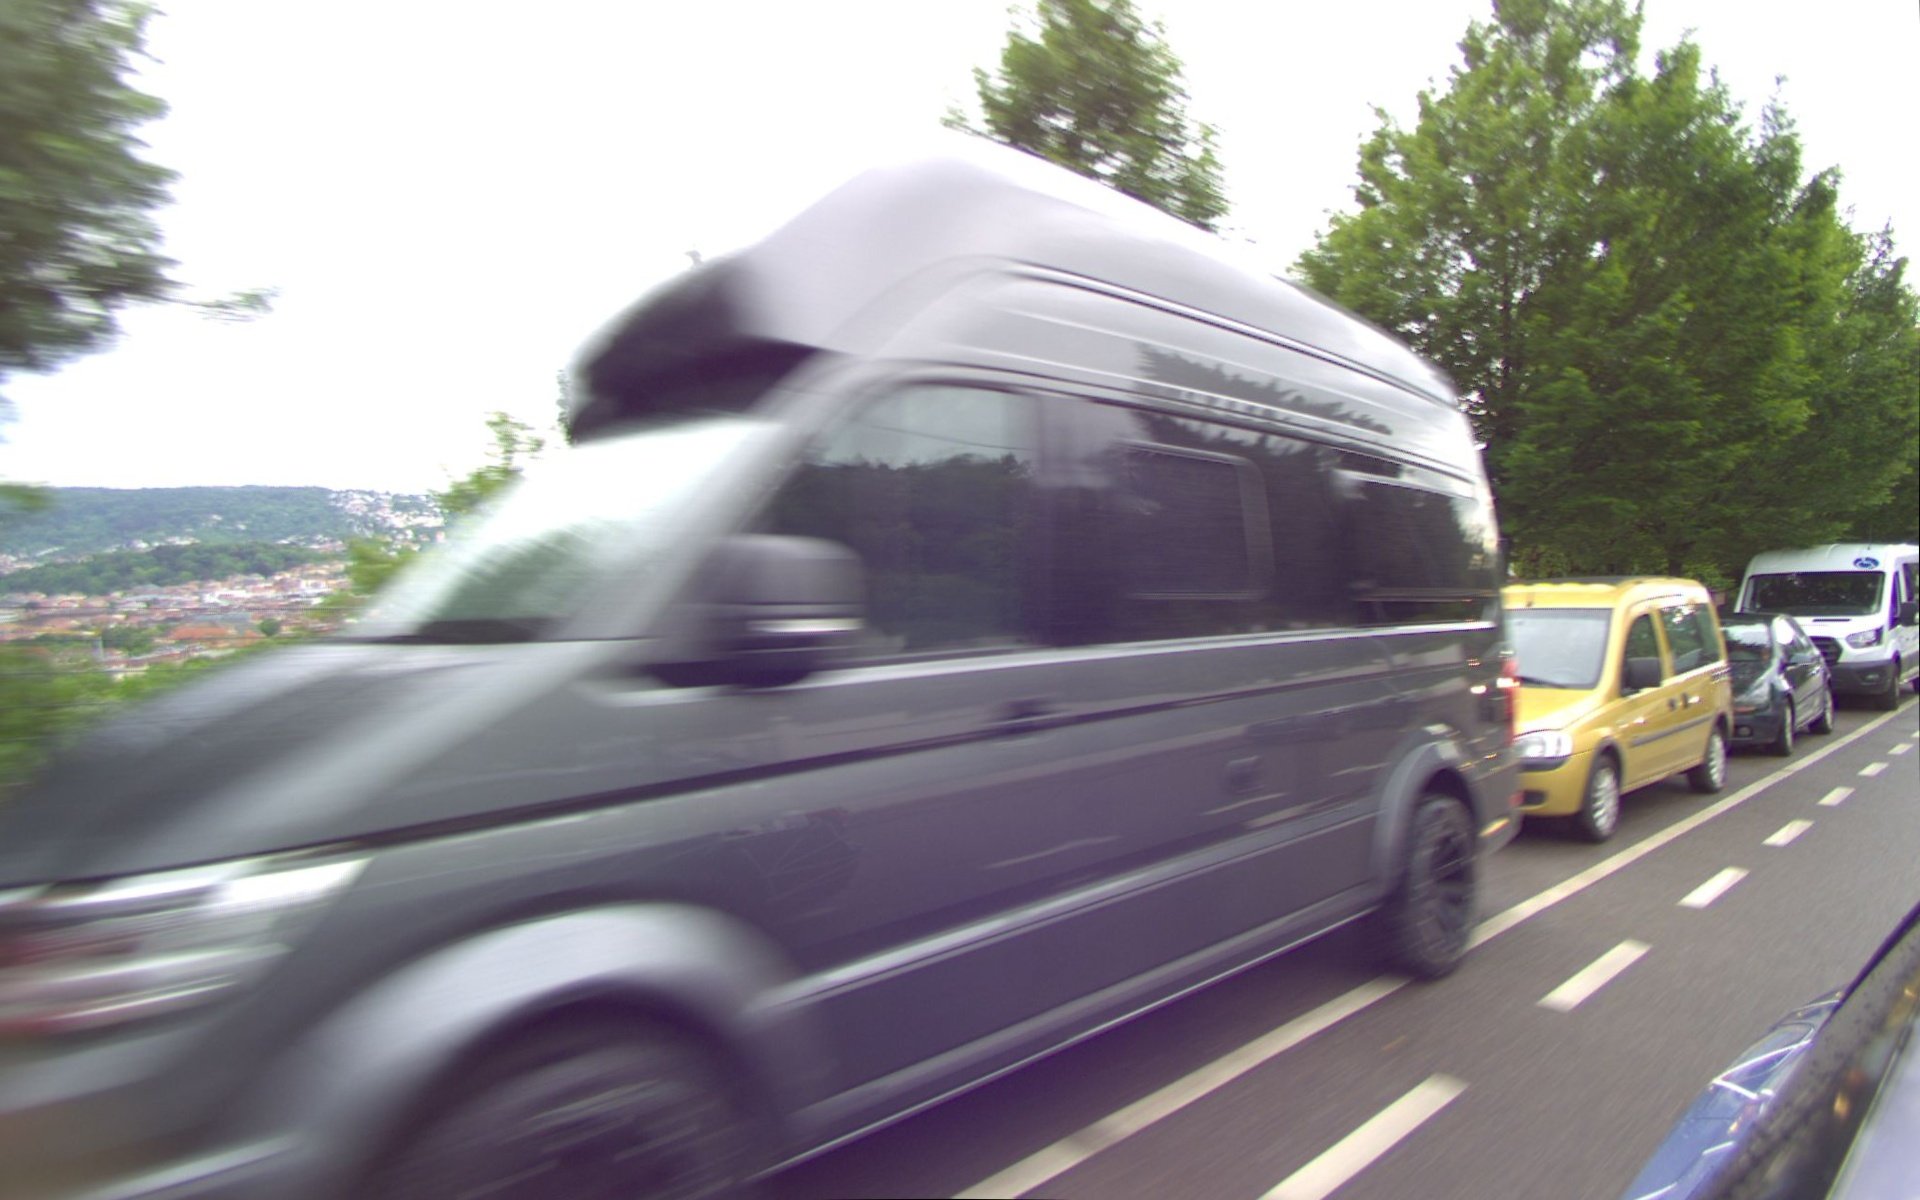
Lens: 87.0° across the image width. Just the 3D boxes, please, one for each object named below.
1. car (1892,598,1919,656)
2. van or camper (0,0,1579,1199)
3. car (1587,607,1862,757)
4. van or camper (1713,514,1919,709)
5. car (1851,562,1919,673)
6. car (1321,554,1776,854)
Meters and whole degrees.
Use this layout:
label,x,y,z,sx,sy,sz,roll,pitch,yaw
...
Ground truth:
label,x,y,z,sx,sy,sz,roll,pitch,yaw
car,25.746,0.658,26.262,4.248,1.453,1.724,0,-1,-40
van or camper,0.159,0.024,3.843,5.627,2.947,2.128,0,0,-41
car,8.965,0.798,11.722,4.327,1.392,1.723,0,-1,-42
van or camper,14.070,0.161,16.124,5.518,2.588,2.167,0,-1,-41
car,20.222,0.337,21.142,4.324,2.166,1.724,0,-1,-40
car,4.820,0.615,8.025,4.324,1.771,1.724,0,-1,-40
